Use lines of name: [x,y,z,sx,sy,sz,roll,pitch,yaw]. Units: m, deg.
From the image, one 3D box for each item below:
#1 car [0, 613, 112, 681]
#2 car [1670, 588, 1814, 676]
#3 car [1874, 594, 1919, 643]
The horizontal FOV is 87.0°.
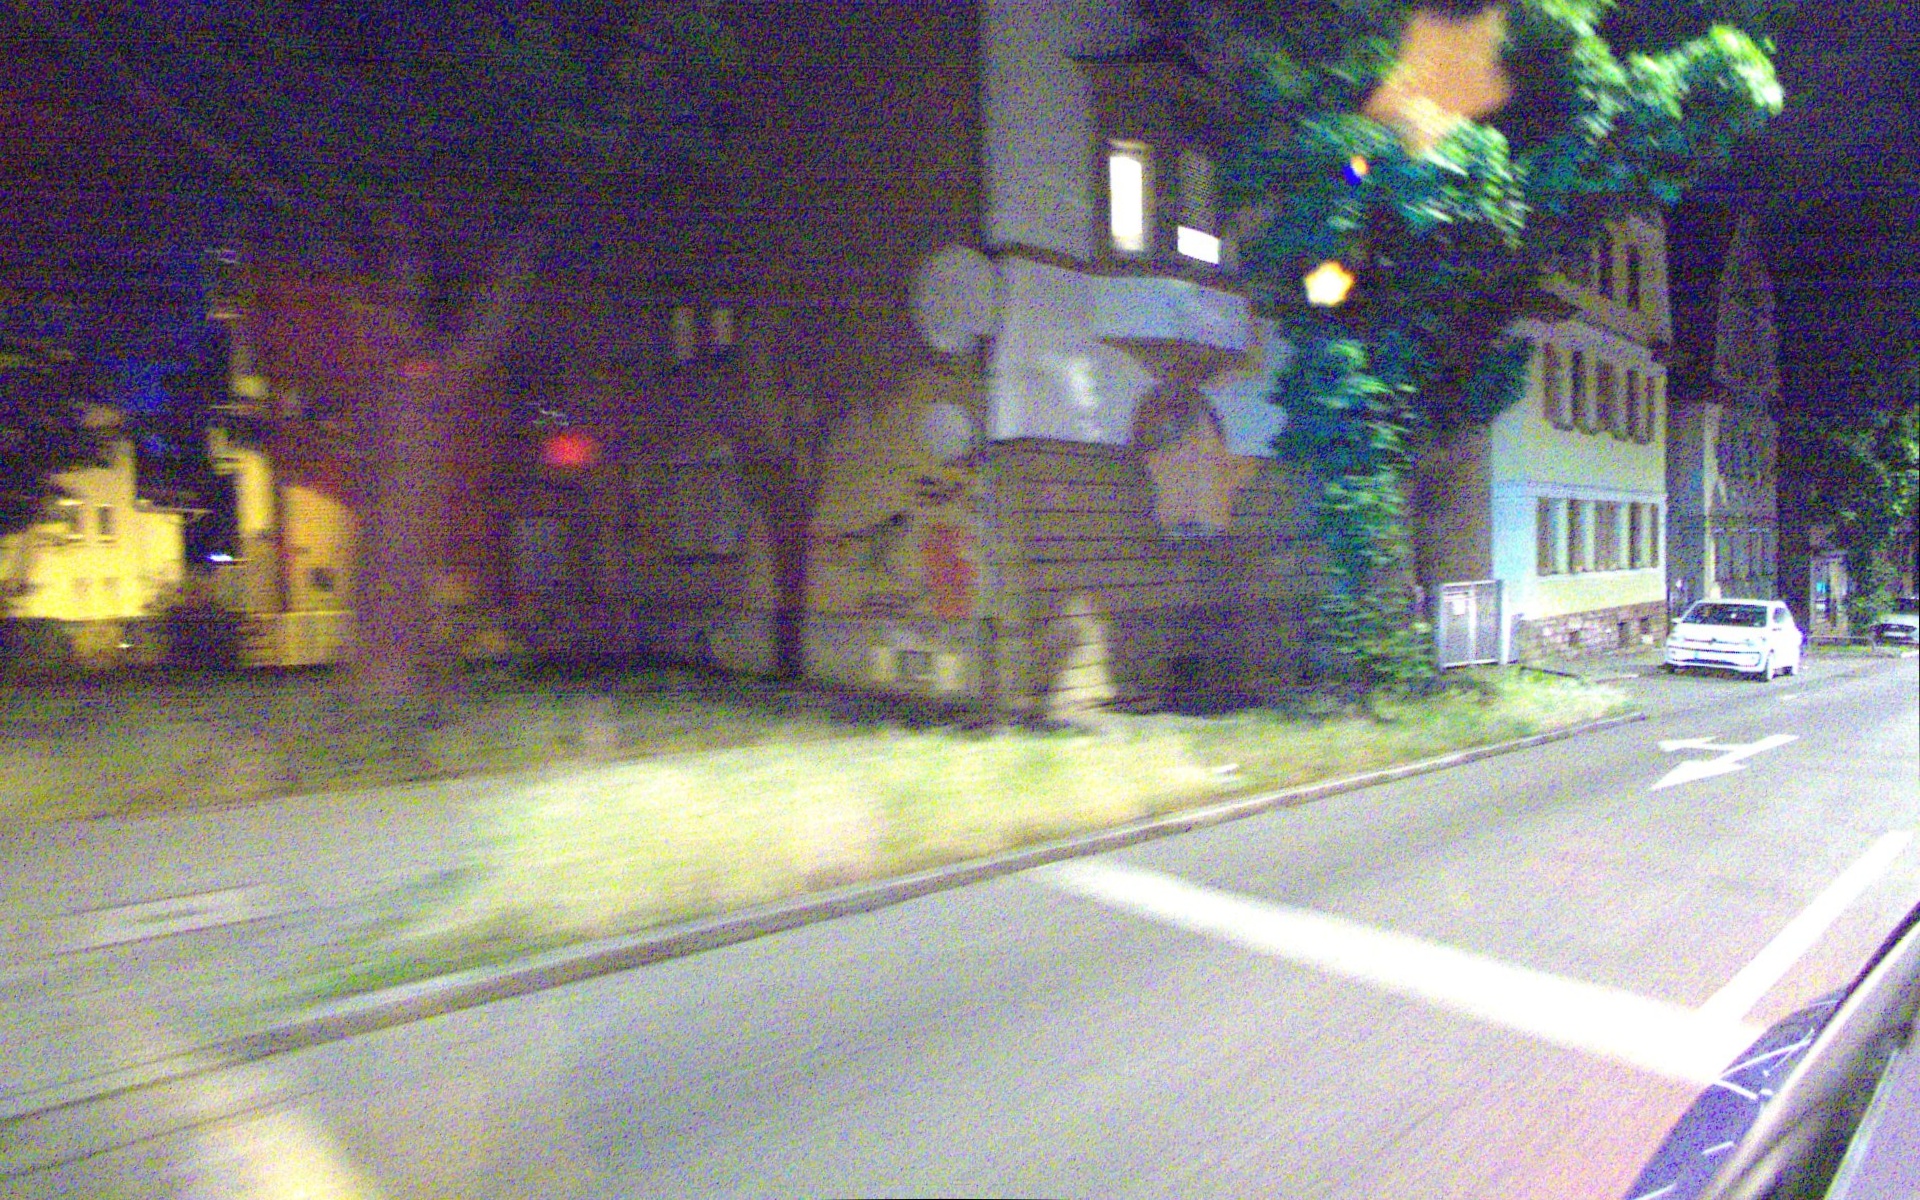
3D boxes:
car: [-21.142,1.014,22.748,1.606,1.374,3.701,-1,0,-11]
car: [15.178,0.551,19.589,3.350,1.512,1.625,0,2,-42]
car: [29.565,0.542,31.208,3.347,1.433,1.536,0,2,-39]
